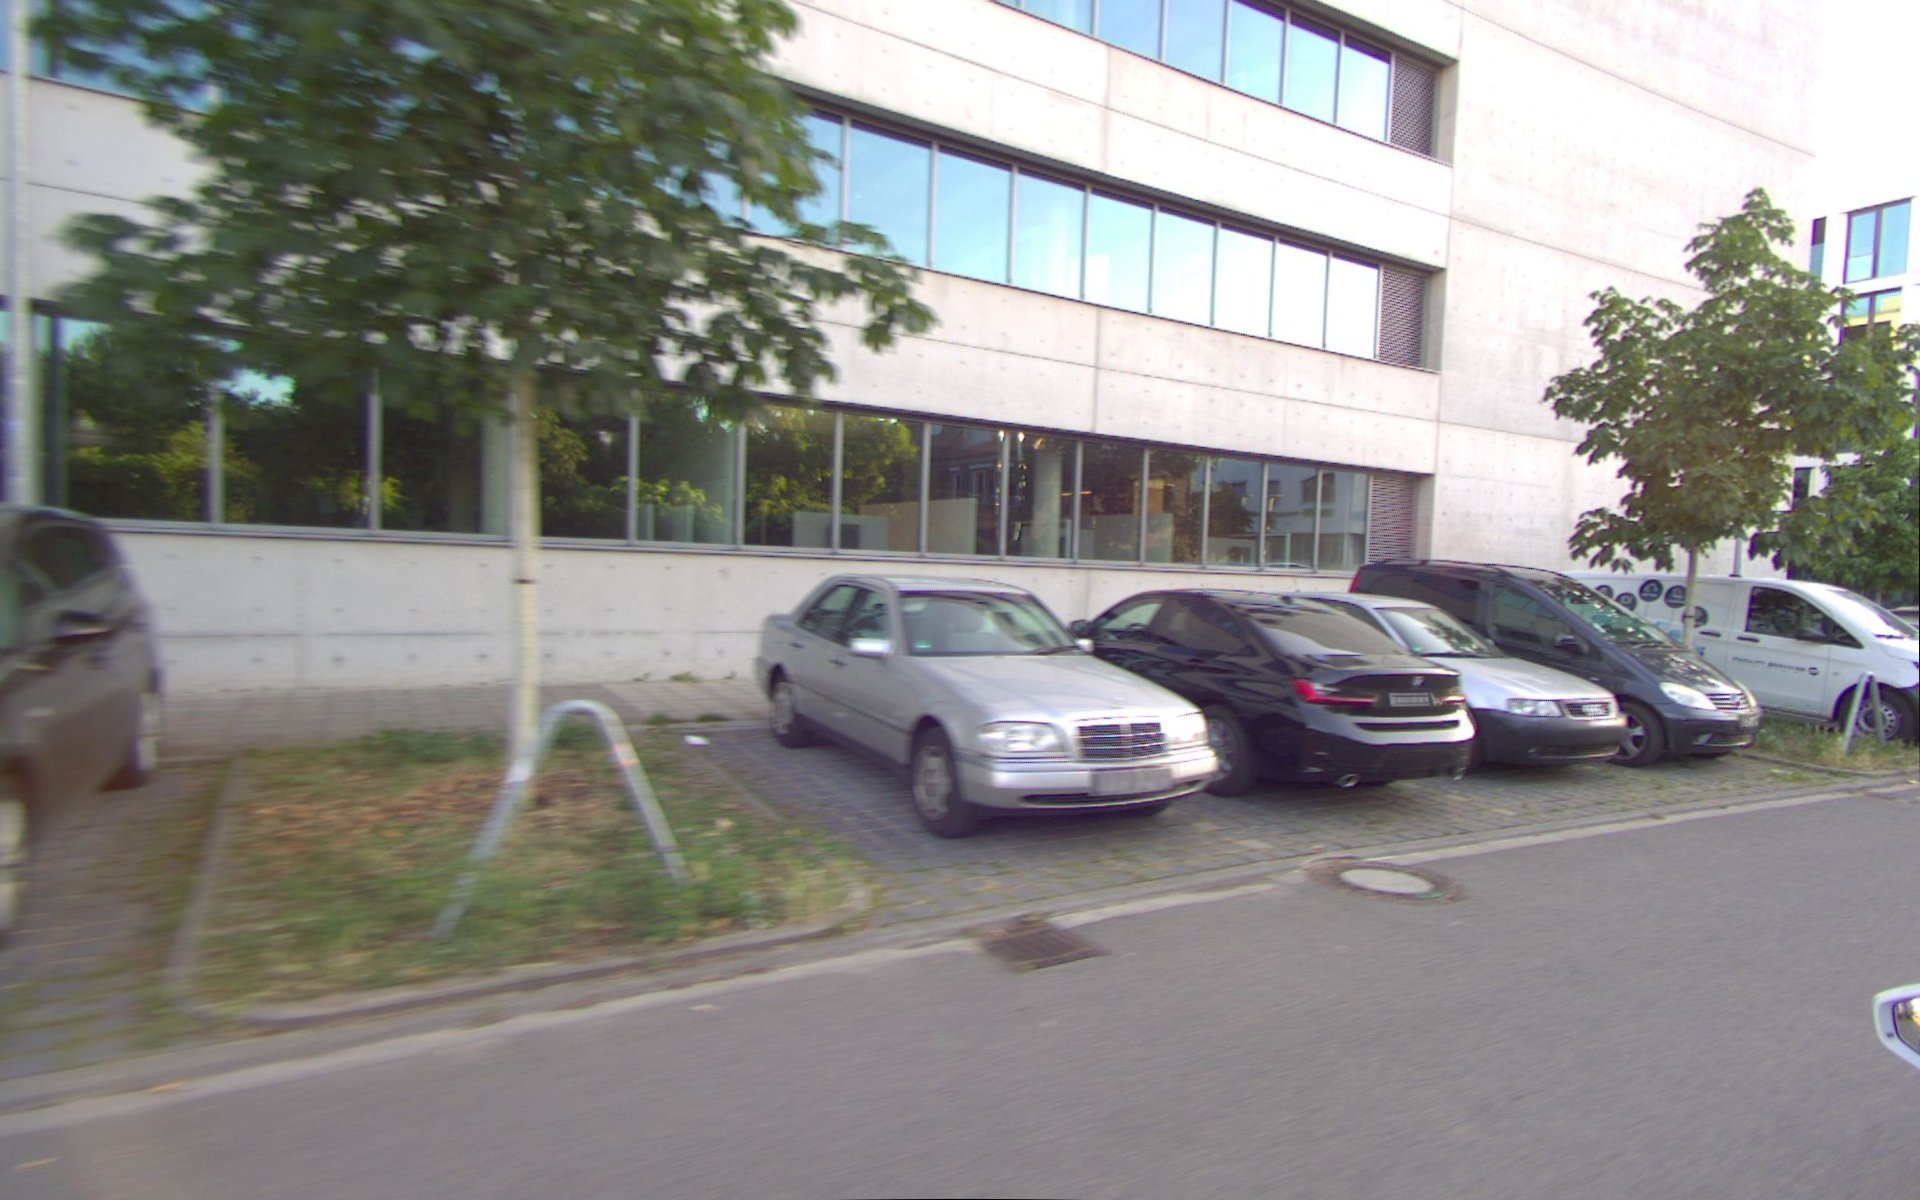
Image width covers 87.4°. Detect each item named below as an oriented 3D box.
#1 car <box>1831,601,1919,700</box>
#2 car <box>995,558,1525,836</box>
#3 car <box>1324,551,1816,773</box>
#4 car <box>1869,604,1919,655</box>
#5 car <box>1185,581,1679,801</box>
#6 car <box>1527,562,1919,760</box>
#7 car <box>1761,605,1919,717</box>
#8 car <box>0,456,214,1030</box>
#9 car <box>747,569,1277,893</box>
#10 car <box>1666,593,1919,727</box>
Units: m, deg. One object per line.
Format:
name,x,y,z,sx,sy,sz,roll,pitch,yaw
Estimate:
car,17.450,0.972,17.029,1.637,1.598,3.626,1,4,-23
car,2.111,0.544,8.504,1.740,1.519,4.382,2,4,-26
car,6.330,0.481,11.014,1.704,1.766,4.227,2,4,-29
car,33.055,0.997,34.453,3.507,1.506,1.714,-2,3,-29
car,4.307,0.688,9.913,1.704,1.423,4.124,2,4,-29
car,10.583,0.649,13.275,1.866,1.973,5.053,2,4,-28
car,15.118,1.002,15.535,1.630,1.509,3.870,1,4,-27
car,-4.643,0.304,4.241,1.874,1.719,4.287,1,3,-30
car,-0.023,0.589,7.282,1.742,1.484,4.412,0,3,-29
car,12.887,0.844,14.556,1.586,1.543,3.968,2,4,-29
